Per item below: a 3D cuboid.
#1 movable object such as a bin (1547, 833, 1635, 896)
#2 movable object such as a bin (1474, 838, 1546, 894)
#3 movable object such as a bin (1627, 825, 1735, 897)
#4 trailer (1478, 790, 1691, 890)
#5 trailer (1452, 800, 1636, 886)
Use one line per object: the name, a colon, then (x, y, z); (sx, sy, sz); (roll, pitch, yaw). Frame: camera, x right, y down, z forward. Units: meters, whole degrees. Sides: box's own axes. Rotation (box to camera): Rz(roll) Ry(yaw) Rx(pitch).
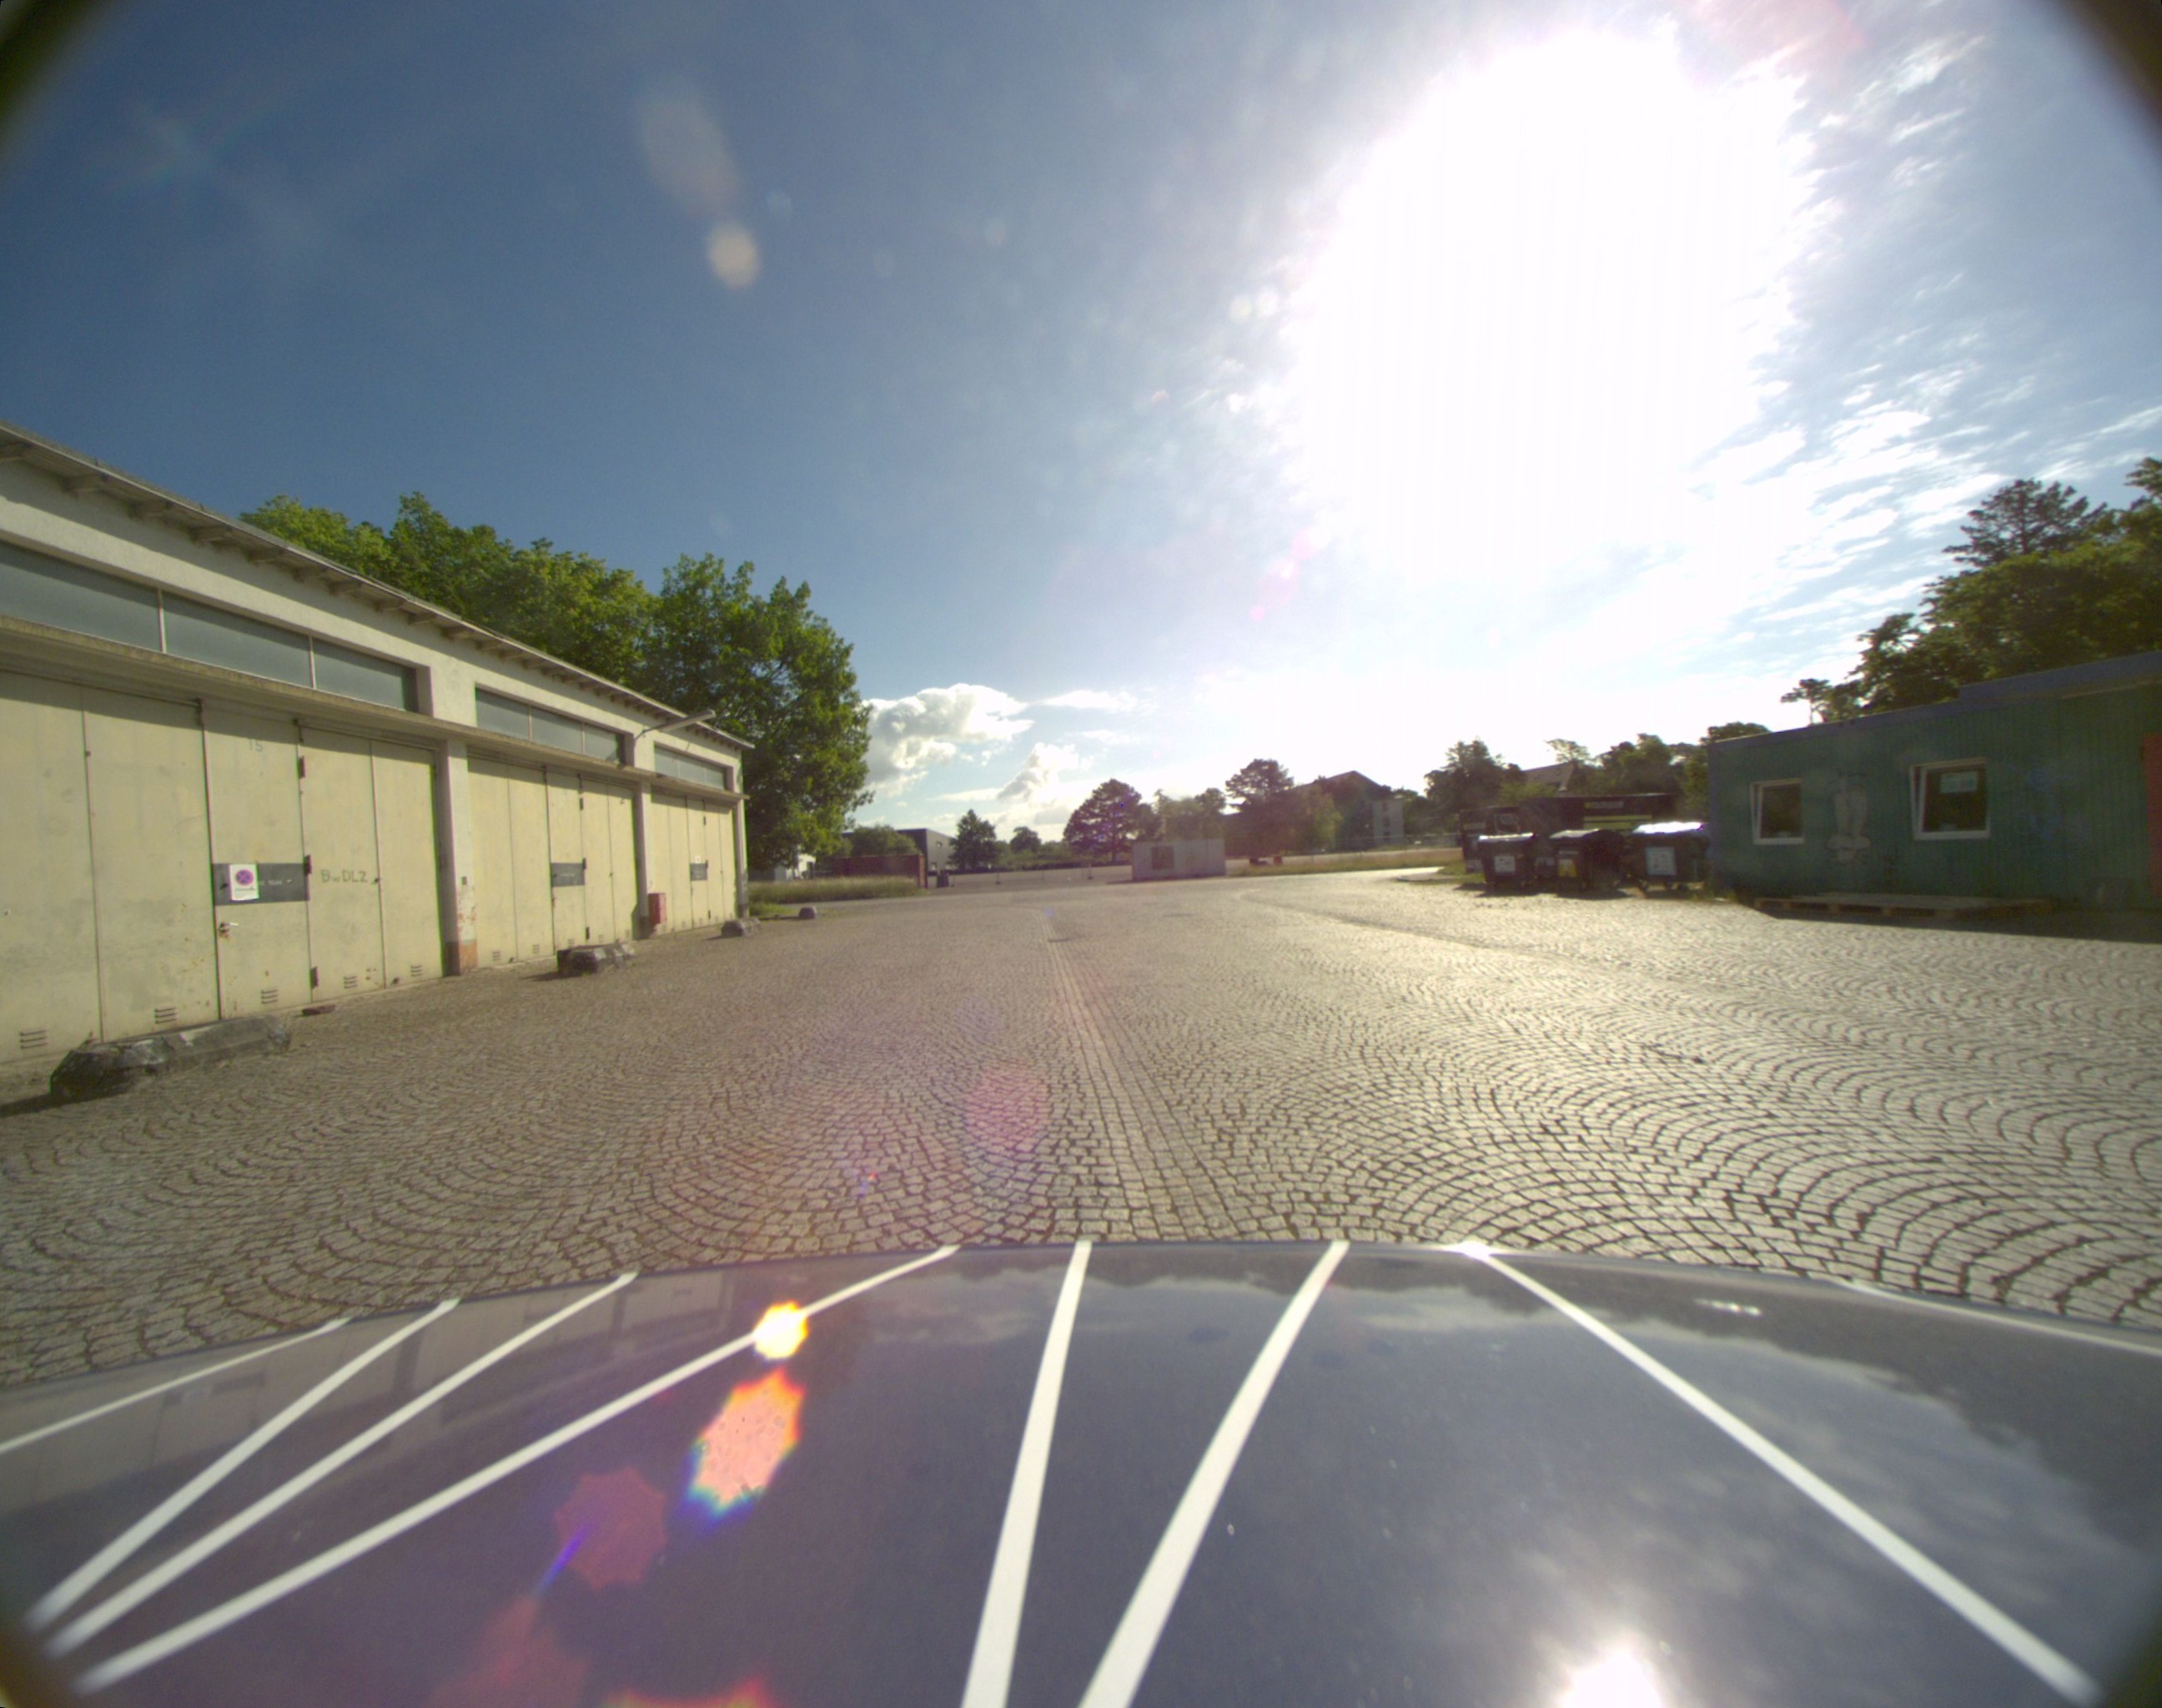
movable object such as a bin: (11.961, 0.238, 17.874); (1.083, 1.377, 1.369); (-3, 0, -1)
movable object such as a bin: (11.275, 0.323, 19.980); (1.361, 1.377, 1.049); (-3, 0, 43)
movable object such as a bin: (12.878, 0.139, 16.364); (1.089, 1.428, 1.407); (-3, 0, -16)
trailer: (14.064, -0.390, 21.345); (4.855, 2.377, 1.941); (-4, 0, -10)
trailer: (14.379, -0.344, 23.750); (4.466, 2.260, 2.013); (-4, 0, -4)
